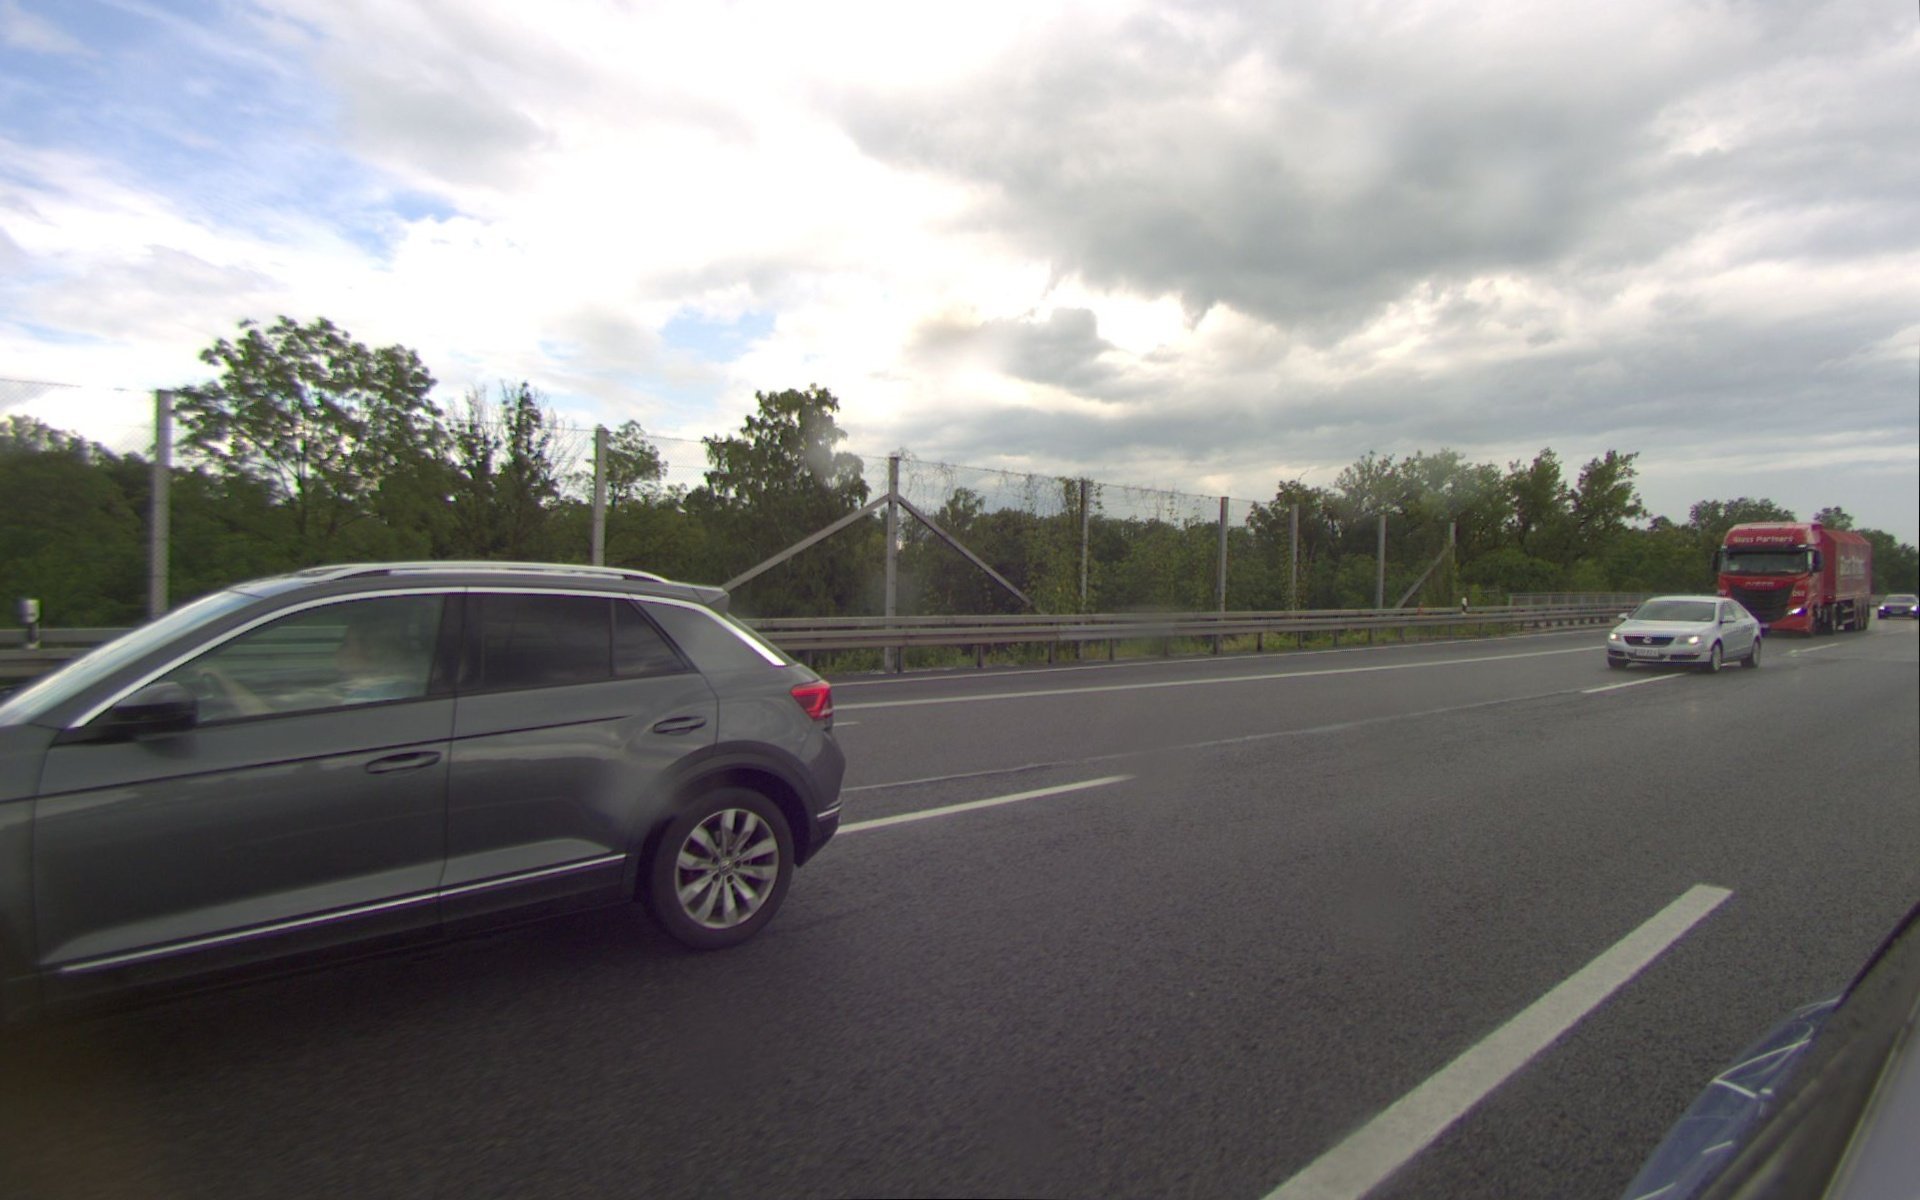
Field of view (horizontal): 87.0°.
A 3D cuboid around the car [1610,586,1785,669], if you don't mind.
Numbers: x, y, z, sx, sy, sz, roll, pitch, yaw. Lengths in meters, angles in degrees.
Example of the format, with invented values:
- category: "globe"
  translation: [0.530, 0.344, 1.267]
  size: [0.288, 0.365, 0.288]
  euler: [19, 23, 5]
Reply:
- category: "car"
  translation: [14.756, 0.475, 20.180]
  size: [4.170, 1.465, 1.897]
  euler: [0, 1, -40]

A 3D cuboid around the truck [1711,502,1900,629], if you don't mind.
- category: "truck"
  translation: [32.528, -1.140, 38.507]
  size: [15.364, 4.054, 3.158]
  euler: [0, 1, -41]

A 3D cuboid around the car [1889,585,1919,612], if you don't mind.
- category: "car"
  translation: [57.019, -0.074, 60.602]
  size: [4.286, 1.562, 1.816]
  euler: [0, 1, -44]

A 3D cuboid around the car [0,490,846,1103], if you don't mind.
- category: "car"
  translation: [-2.439, 0.488, 3.876]
  size: [3.659, 1.582, 1.794]
  euler: [-1, 1, -43]
